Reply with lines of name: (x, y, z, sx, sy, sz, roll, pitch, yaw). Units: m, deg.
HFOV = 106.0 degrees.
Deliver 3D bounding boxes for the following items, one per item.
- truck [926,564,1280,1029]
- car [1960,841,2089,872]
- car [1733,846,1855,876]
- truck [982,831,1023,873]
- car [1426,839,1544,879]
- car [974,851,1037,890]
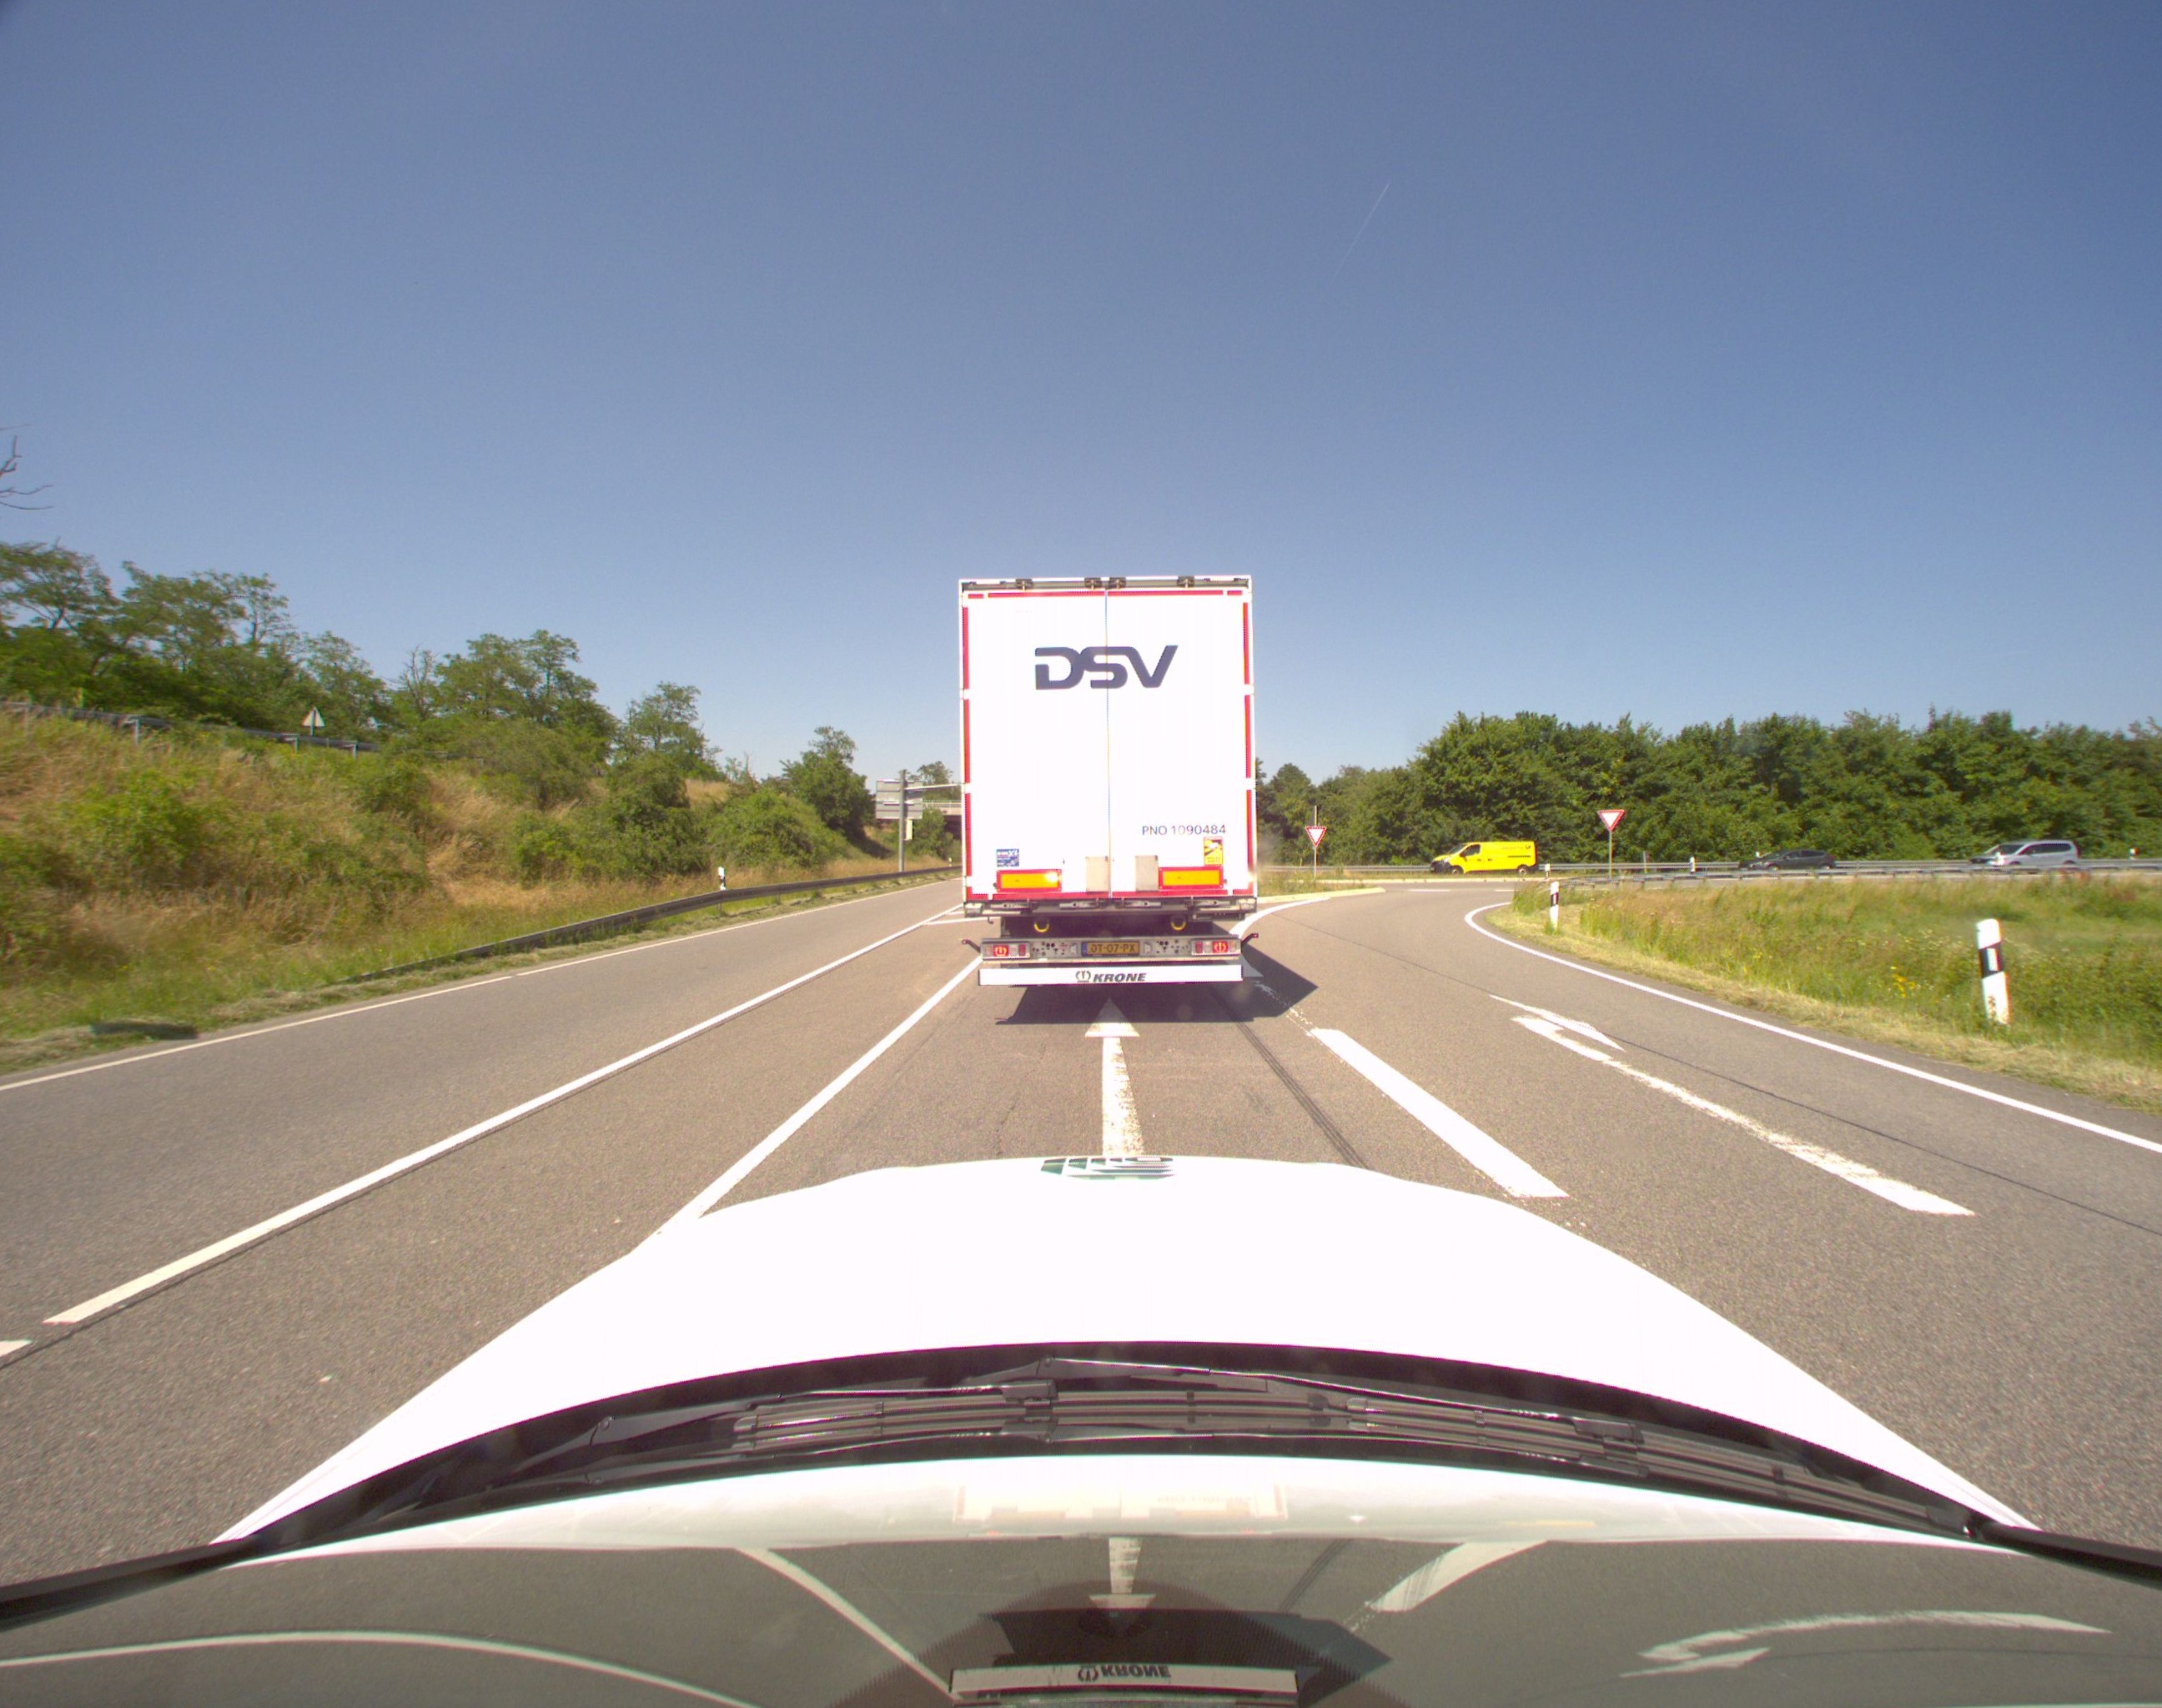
truck: (0.295, -0.476, 11.909, 2.977, 3.942, 9.877, -1, 0, 1)
car: (49.839, 0.132, 43.075, 4.667, 1.514, 1.853, -1, -1, 0)
car: (37.504, 0.378, 42.939, 4.662, 1.514, 1.855, -1, -1, 3)
truck: (-6.945, -0.114, 73.377, 2.634, 3.538, 7.893, -1, -1, 2)
car: (21.592, 0.271, 43.717, 5.297, 2.014, 2.003, -1, -1, 4)
car: (-3.292, 0.687, 36.604, 1.752, 1.598, 4.512, -1, 0, 9)
